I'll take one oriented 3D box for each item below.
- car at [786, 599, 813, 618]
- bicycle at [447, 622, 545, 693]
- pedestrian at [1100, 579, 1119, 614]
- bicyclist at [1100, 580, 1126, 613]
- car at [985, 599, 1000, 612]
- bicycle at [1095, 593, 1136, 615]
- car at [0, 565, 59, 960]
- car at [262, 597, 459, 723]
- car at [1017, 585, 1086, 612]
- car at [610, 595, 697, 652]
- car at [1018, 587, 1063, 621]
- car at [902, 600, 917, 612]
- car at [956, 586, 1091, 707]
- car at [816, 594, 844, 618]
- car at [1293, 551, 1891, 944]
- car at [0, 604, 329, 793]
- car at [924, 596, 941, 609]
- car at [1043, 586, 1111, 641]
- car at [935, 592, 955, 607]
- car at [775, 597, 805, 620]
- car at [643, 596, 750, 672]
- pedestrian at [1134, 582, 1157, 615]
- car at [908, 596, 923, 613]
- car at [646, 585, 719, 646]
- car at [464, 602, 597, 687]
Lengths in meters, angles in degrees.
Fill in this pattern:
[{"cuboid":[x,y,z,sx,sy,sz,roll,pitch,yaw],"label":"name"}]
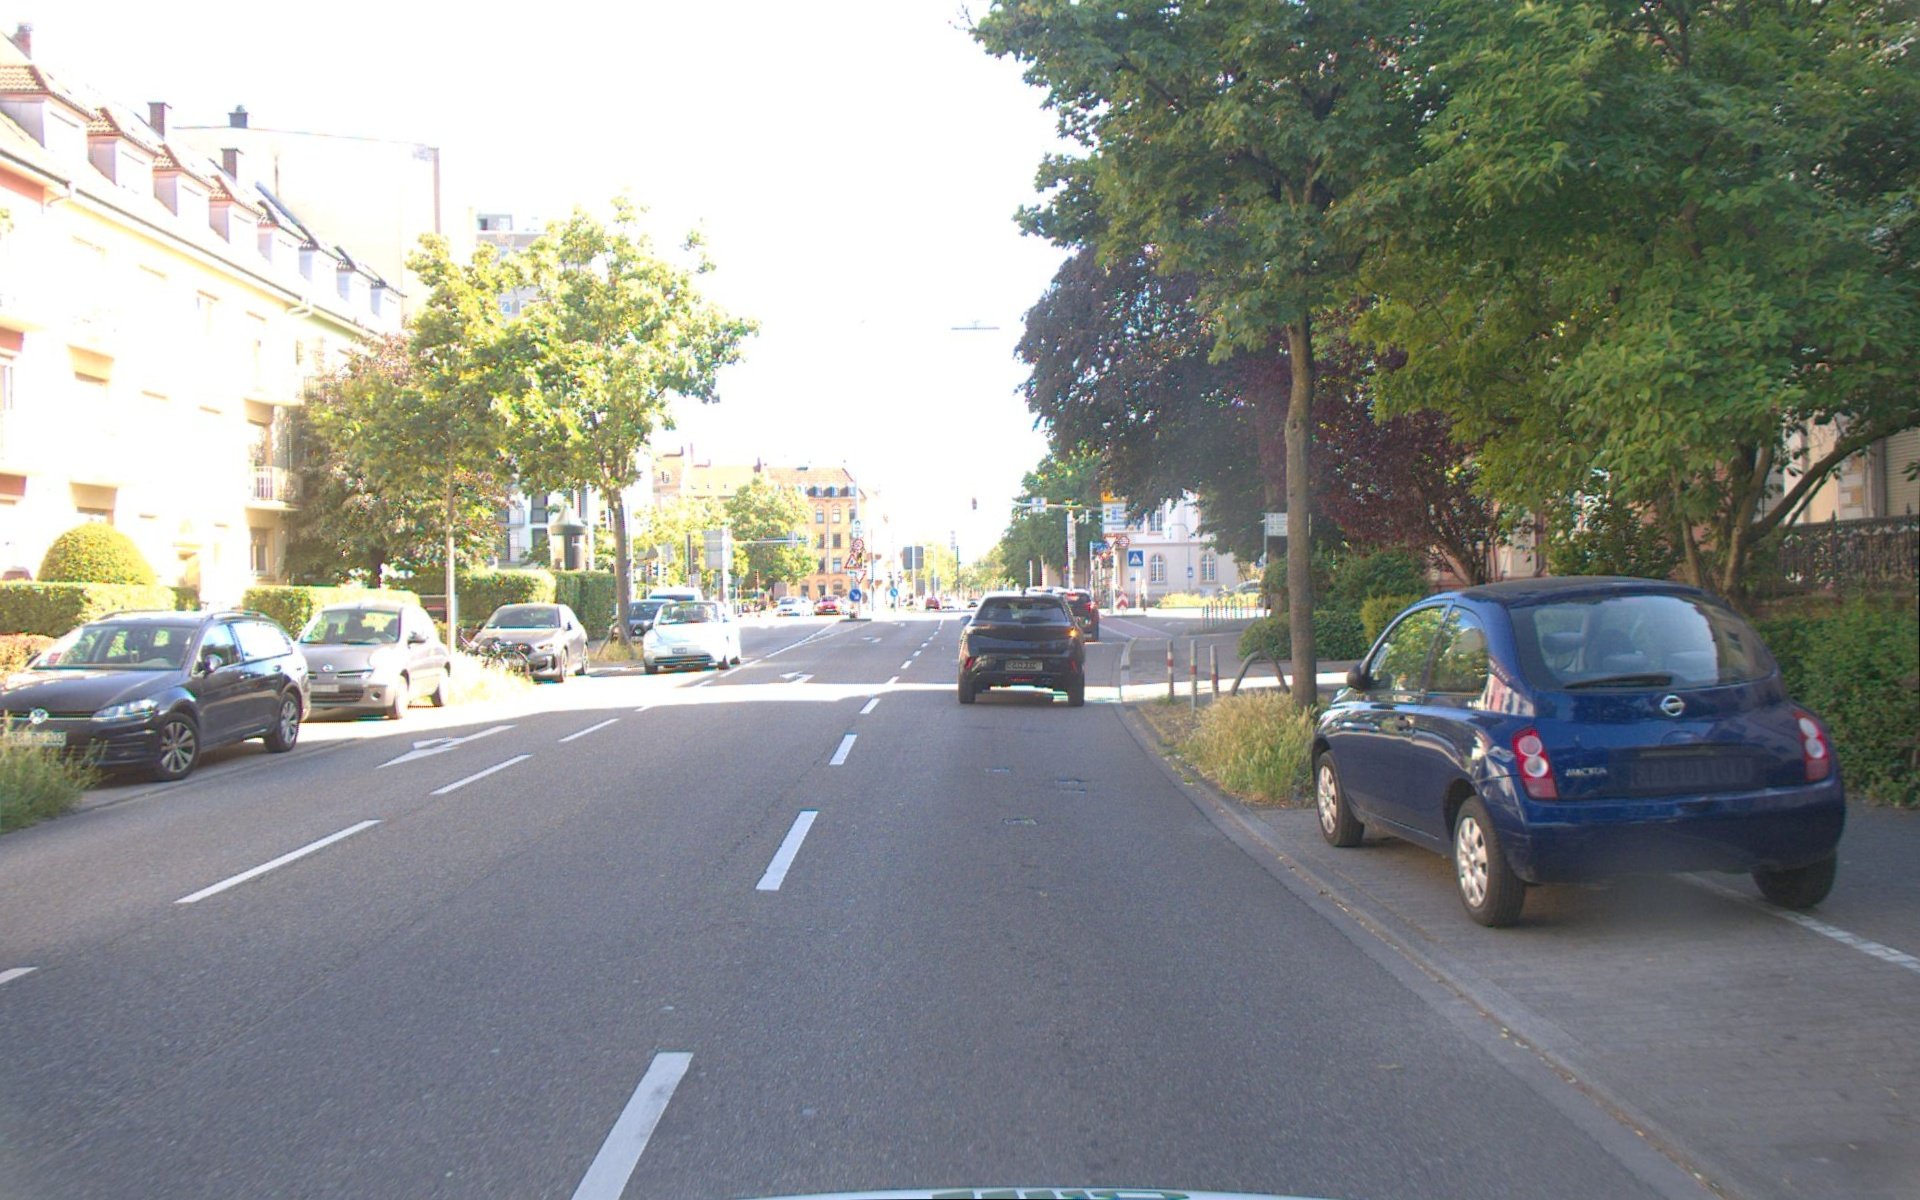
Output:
[{"cuboid":[-13.191,0.654,136.002,1.836,1.473,3.999,-1,0,-1],"label":"car"},{"cuboid":[-8.019,0.993,28.598,1.512,1.154,0.548,-2,0,-3],"label":"bicycle"},{"cuboid":[7.519,-0.195,83.294,0.810,1.731,0.916,-1,0,-6],"label":"pedestrian"},{"cuboid":[7.926,-0.188,85.837,1.146,1.662,0.726,0,0,-17],"label":"bicyclist"},{"cuboid":[4.391,0.792,221.449,1.822,1.689,4.002,1,0,4],"label":"car"},{"cuboid":[8.073,0.206,85.871,1.999,1.079,0.619,0,0,-18],"label":"bicycle"},{"cuboid":[-4.925,0.751,5.107,1.770,1.676,4.671,-3,0,-2],"label":"car"},{"cuboid":[-8.194,0.764,22.924,1.642,1.552,3.655,1,1,-5],"label":"car"},{"cuboid":[5.335,-0.082,95.736,3.790,1.478,1.779,-1,0,9],"label":"car"},{"cuboid":[-8.426,0.611,45.803,1.637,1.482,4.110,-1,0,0],"label":"car"},{"cuboid":[3.695,0.161,76.455,1.793,1.478,3.987,-1,0,-1],"label":"car"},{"cuboid":[-6.645,0.754,216.893,1.836,1.473,3.999,-1,0,-1],"label":"car"},{"cuboid":[0.842,0.616,23.729,1.710,1.601,3.557,0,0,-1],"label":"car"},{"cuboid":[-9.478,0.444,120.661,1.754,1.645,4.000,-1,0,-1],"label":"car"},{"cuboid":[3.012,0.601,8.719,1.528,1.541,3.652,-3,0,-3],"label":"car"},{"cuboid":[-7.895,0.847,16.328,1.749,1.519,4.491,-1,1,-2],"label":"car"},{"cuboid":[-3.114,0.307,188.743,1.773,1.431,4.000,-1,0,0],"label":"car"},{"cuboid":[3.614,0.380,51.571,1.793,1.606,3.839,-1,0,-1],"label":"car"},{"cuboid":[-1.867,-0.080,202.301,2.133,1.728,3.996,-1,0,-5],"label":"car"},{"cuboid":[-12.560,0.605,122.422,1.836,1.645,3.999,-1,0,-1],"label":"car"},{"cuboid":[-5.505,0.667,34.904,1.702,1.405,3.935,-3,1,-2],"label":"car"},{"cuboid":[9.435,-0.081,84.173,1.020,1.689,0.783,-2,0,-4],"label":"pedestrian"},{"cuboid":[-5.628,0.562,208.626,1.773,2.172,3.999,-1,0,-1],"label":"car"},{"cuboid":[-8.940,0.463,53.606,1.782,1.866,4.559,-1,0,-3],"label":"car"},{"cuboid":[-8.143,0.797,31.708,1.733,1.433,4.362,-1,1,-5],"label":"car"}]
